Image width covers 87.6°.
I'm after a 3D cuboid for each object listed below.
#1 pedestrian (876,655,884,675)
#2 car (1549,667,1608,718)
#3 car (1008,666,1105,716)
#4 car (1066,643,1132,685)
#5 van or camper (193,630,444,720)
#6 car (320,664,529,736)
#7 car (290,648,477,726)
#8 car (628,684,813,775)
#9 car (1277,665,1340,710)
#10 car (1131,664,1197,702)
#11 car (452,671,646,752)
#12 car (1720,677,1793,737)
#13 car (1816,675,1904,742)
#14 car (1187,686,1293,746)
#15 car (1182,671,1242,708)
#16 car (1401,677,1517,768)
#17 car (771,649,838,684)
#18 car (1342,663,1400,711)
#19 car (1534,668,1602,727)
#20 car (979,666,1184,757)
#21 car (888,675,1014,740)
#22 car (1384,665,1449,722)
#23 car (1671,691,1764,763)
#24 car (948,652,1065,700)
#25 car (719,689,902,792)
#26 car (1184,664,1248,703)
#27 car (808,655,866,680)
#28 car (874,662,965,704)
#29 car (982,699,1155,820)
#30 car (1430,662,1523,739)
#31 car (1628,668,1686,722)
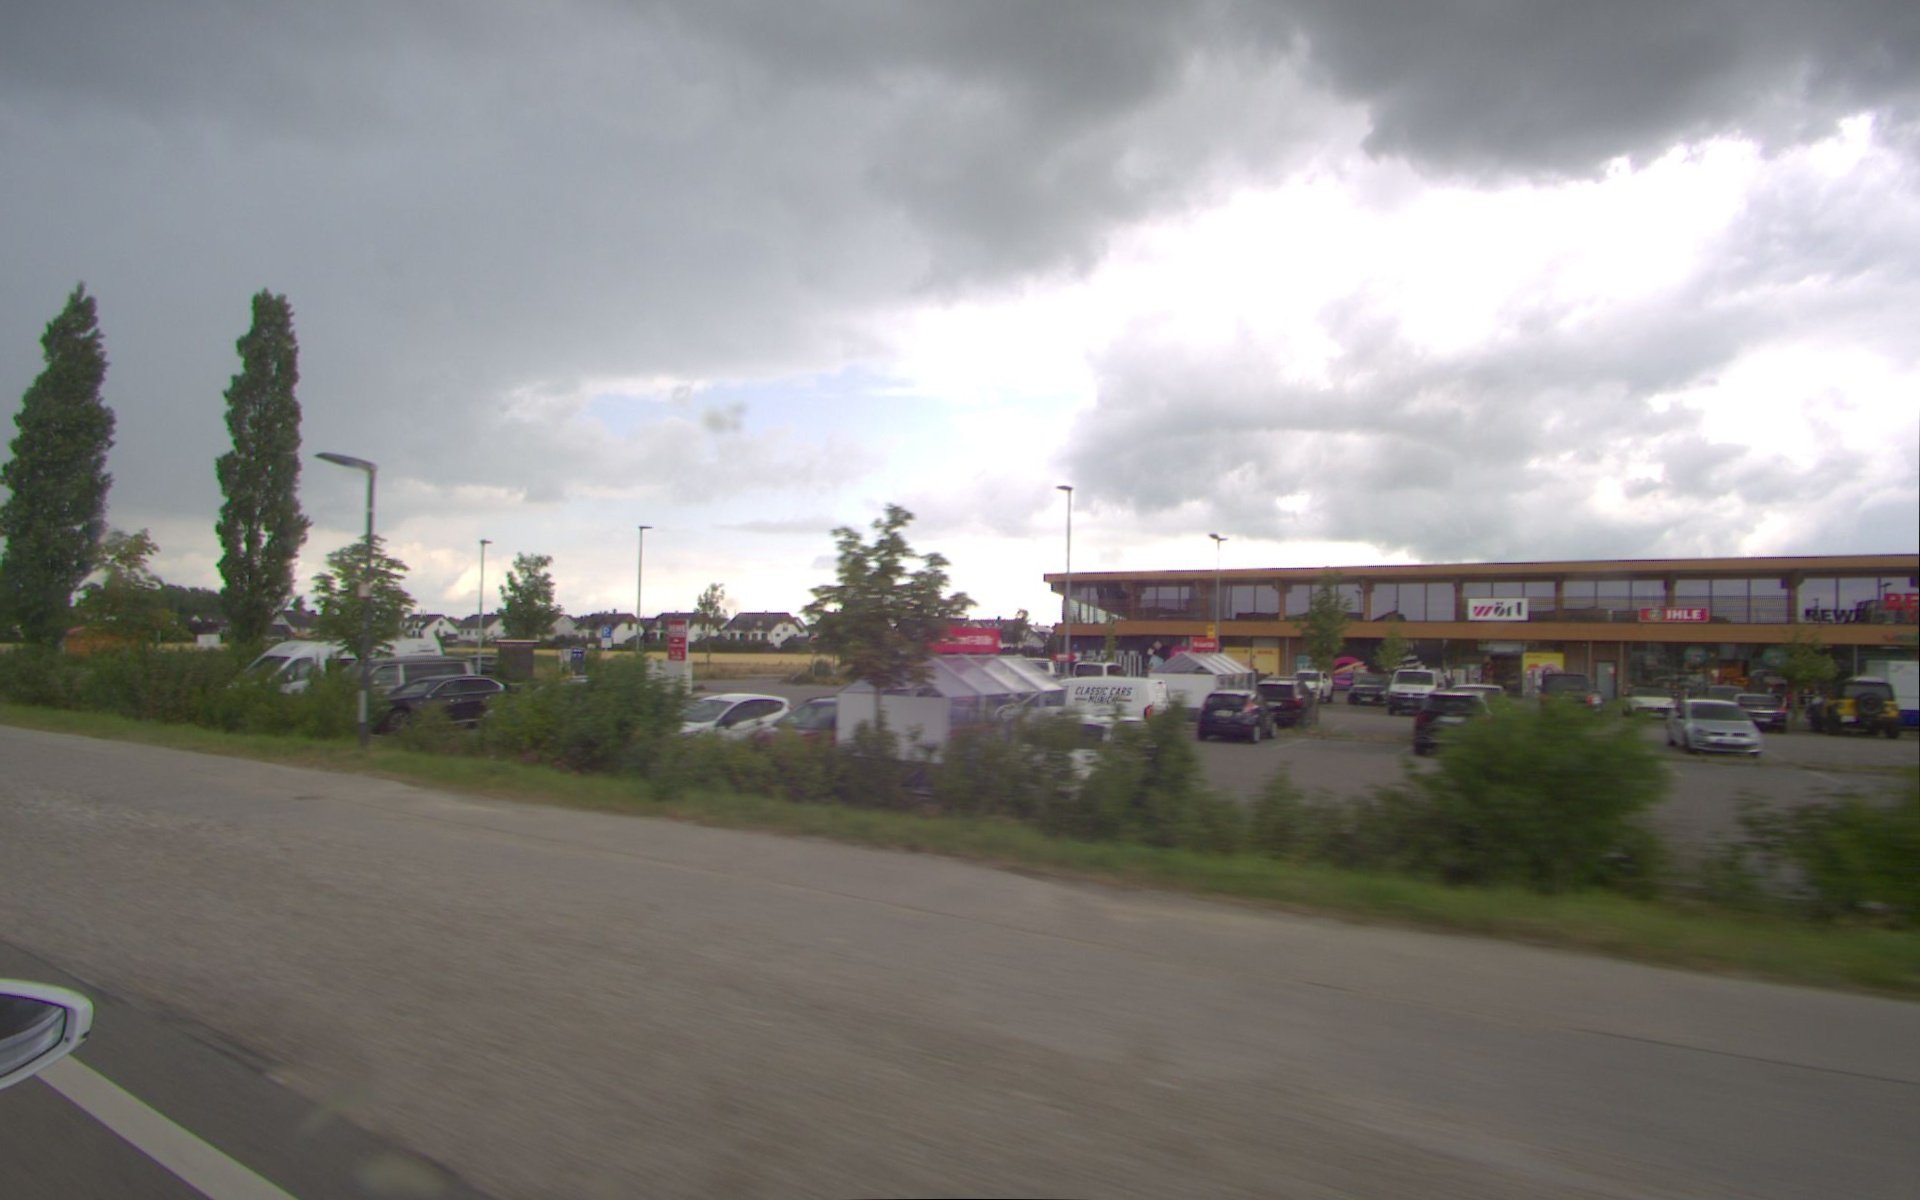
[{"bbox_3d":[-7.188,5.837,90.119,0.591,1.784,0.481,0,0,32],"label":"pedestrian"},{"bbox_3d":[28.148,4.145,45.514,1.974,2.040,4.097,0,-1,36],"label":"car"},{"bbox_3d":[3.770,3.456,38.679,1.974,1.639,3.974,0,-1,36],"label":"car"},{"bbox_3d":[7.087,3.180,50.711,2.008,1.936,3.888,0,-1,30],"label":"car"},{"bbox_3d":[-20.189,2.247,31.969,2.247,2.496,6.459,0,-1,30],"label":"van or camper"},{"bbox_3d":[-15.018,2.742,28.434,1.732,1.618,5.089,0,-1,30],"label":"car"},{"bbox_3d":[-17.497,2.563,30.624,1.970,2.040,4.587,0,-1,30],"label":"car"},{"bbox_3d":[-5.240,2.807,22.437,1.651,1.558,4.141,0,-1,30],"label":"car"},{"bbox_3d":[17.980,4.451,51.545,1.974,2.040,3.974,0,-1,36],"label":"car"},{"bbox_3d":[10.053,4.041,49.252,2.010,1.628,3.731,0,-1,32],"label":"car"},{"bbox_3d":[-10.234,2.704,25.207,2.049,1.618,4.141,0,-1,30],"label":"car"},{"bbox_3d":[29.782,3.956,37.538,1.974,2.038,3.978,0,-4,36],"label":"car"},{"bbox_3d":[32.389,3.831,36.139,1.974,2.040,3.974,0,-1,36],"label":"car"},{"bbox_3d":[8.198,3.311,29.098,1.971,1.460,3.983,0,-3,31],"label":"car"},{"bbox_3d":[12.173,4.276,48.285,1.768,1.496,3.731,0,-1,32],"label":"car"},{"bbox_3d":[12.949,3.050,25.856,1.974,1.895,4.247,0,-1,36],"label":"car"},{"bbox_3d":[-10.053,4.248,64.555,3.943,2.040,1.990,0,-1,32],"label":"car"},{"bbox_3d":[20.715,4.303,50.346,1.971,2.040,5.122,0,-1,31],"label":"car"},{"bbox_3d":[24.529,3.879,40.333,1.974,2.040,3.974,0,-1,36],"label":"car"},{"bbox_3d":[3.113,2.796,26.017,4.871,1.931,2.099,0,-1,32],"label":"car"},{"bbox_3d":[-0.221,3.280,31.272,1.974,1.639,3.974,0,-1,36],"label":"car"},{"bbox_3d":[19.407,3.893,42.475,1.971,2.040,5.122,0,-1,31],"label":"car"},{"bbox_3d":[21.403,3.511,28.361,1.974,1.572,4.105,0,-1,36],"label":"car"},{"bbox_3d":[2.202,3.484,46.681,5.155,2.040,1.991,1,-1,-28],"label":"car"},{"bbox_3d":[-2.890,2.711,20.056,1.651,1.558,3.751,0,-1,30],"label":"car"},{"bbox_3d":[13.587,4.382,52.984,1.920,1.772,3.974,0,-1,36],"label":"car"},{"bbox_3d":[-8.249,4.517,67.096,3.528,1.527,1.742,0,-1,32],"label":"car"},{"bbox_3d":[-1.628,3.418,41.650,1.874,1.451,4.172,0,-1,30],"label":"car"},{"bbox_3d":[2.017,2.690,17.658,1.651,1.558,3.751,0,-1,30],"label":"car"},{"bbox_3d":[16.110,3.050,31.160,1.974,2.040,3.974,0,-1,36],"label":"car"},{"bbox_3d":[30.569,4.122,43.888,1.974,2.040,3.974,0,-1,36],"label":"car"}]
